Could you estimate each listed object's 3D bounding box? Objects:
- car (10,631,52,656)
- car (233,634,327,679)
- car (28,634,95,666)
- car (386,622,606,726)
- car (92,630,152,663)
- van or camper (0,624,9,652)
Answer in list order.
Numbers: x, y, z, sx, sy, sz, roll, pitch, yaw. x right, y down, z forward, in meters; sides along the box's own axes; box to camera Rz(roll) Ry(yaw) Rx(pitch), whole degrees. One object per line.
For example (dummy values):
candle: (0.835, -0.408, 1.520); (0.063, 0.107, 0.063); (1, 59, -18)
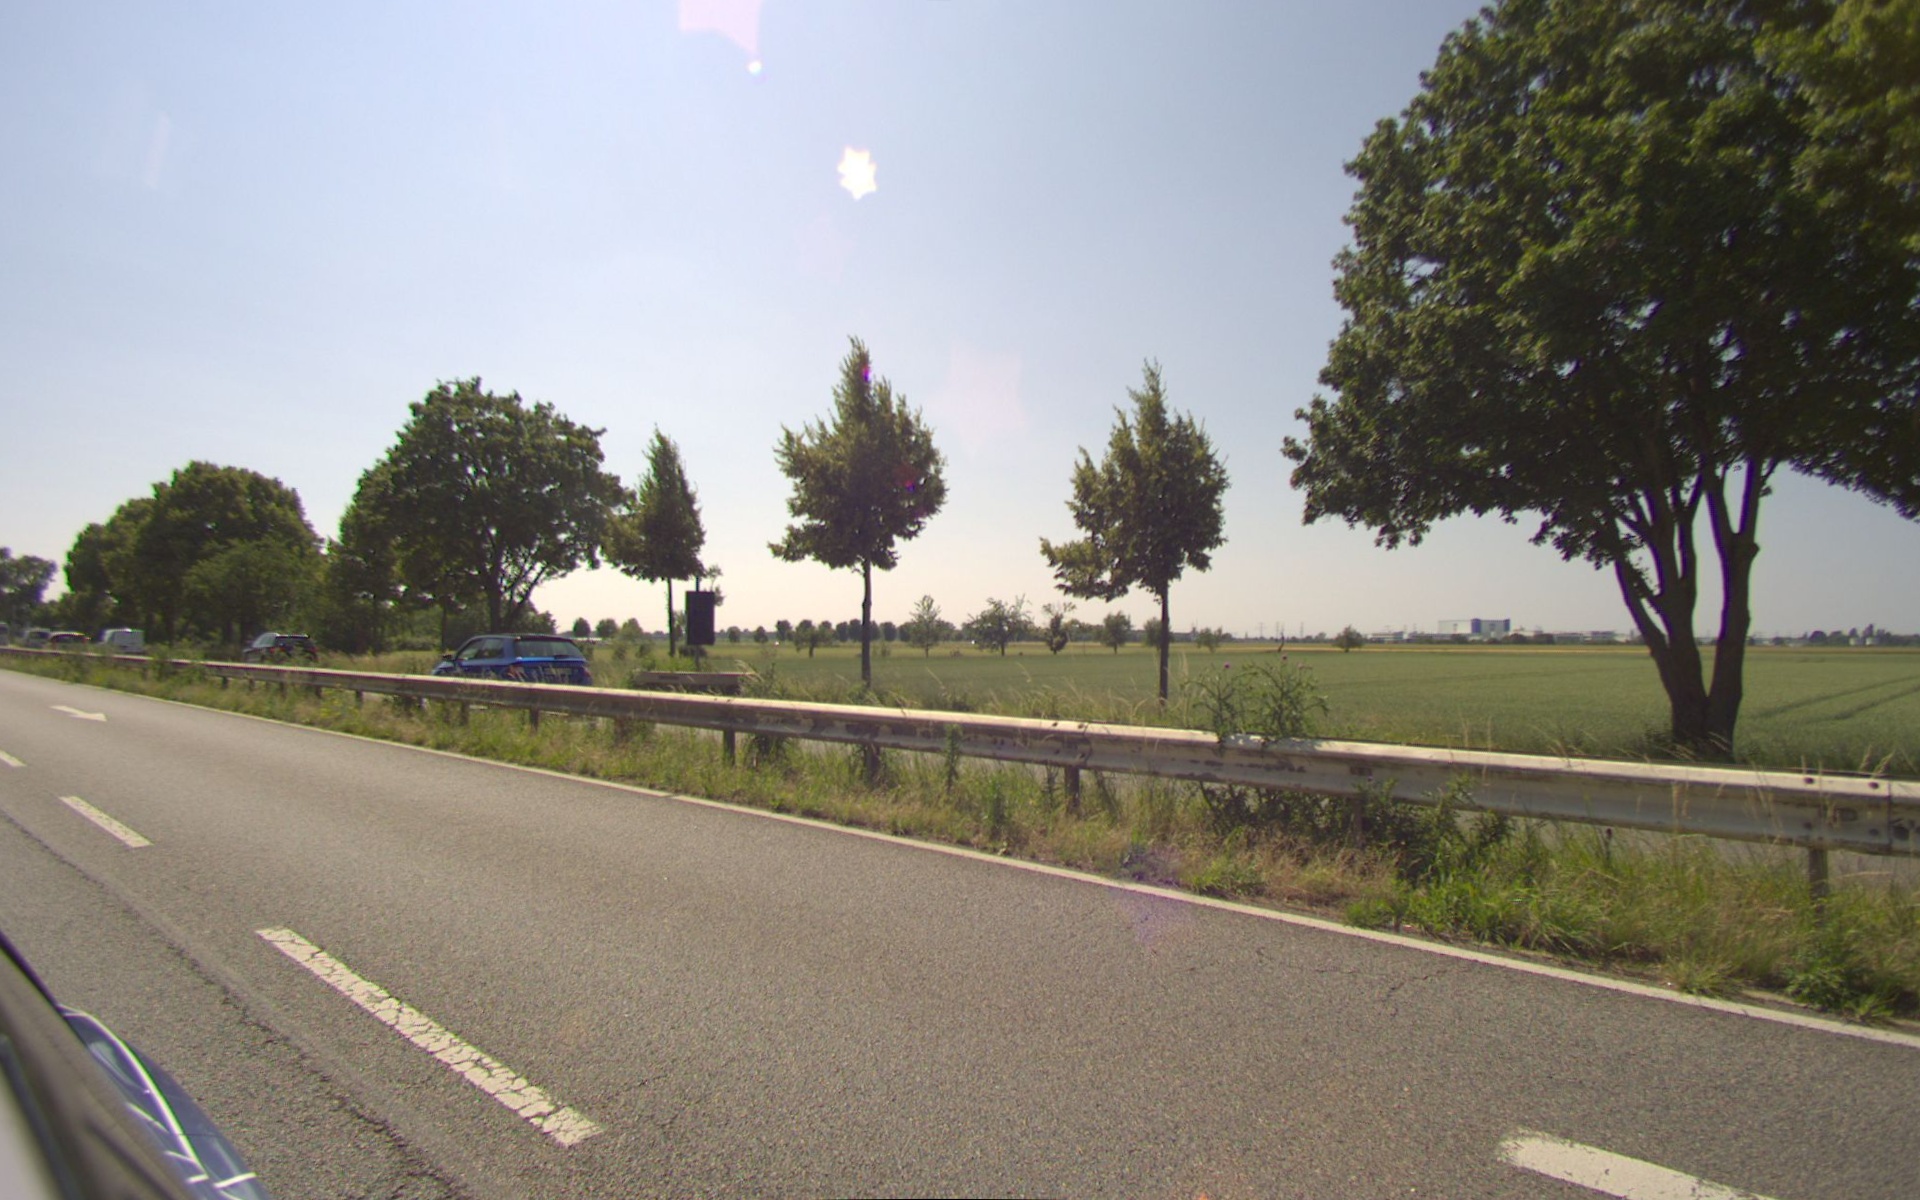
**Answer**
car: (-77.906, 3.629, 84.856); (4.529, 2.029, 2.017); (-2, -3, 41)
car: (-27.173, 2.204, 40.398); (4.477, 1.675, 1.973); (-2, -2, 41)
car: (-46.411, 2.565, 52.273); (4.477, 1.569, 1.973); (-2, -3, 41)
car: (-8.600, 1.274, 18.599); (4.477, 1.675, 1.973); (-2, -3, 41)
car: (-51.325, 2.829, 61.962); (4.924, 1.975, 1.973); (-2, -3, 41)
van or camper: (-103.006, 4.010, 107.349); (7.088, 2.971, 2.360); (-2, -3, 41)
